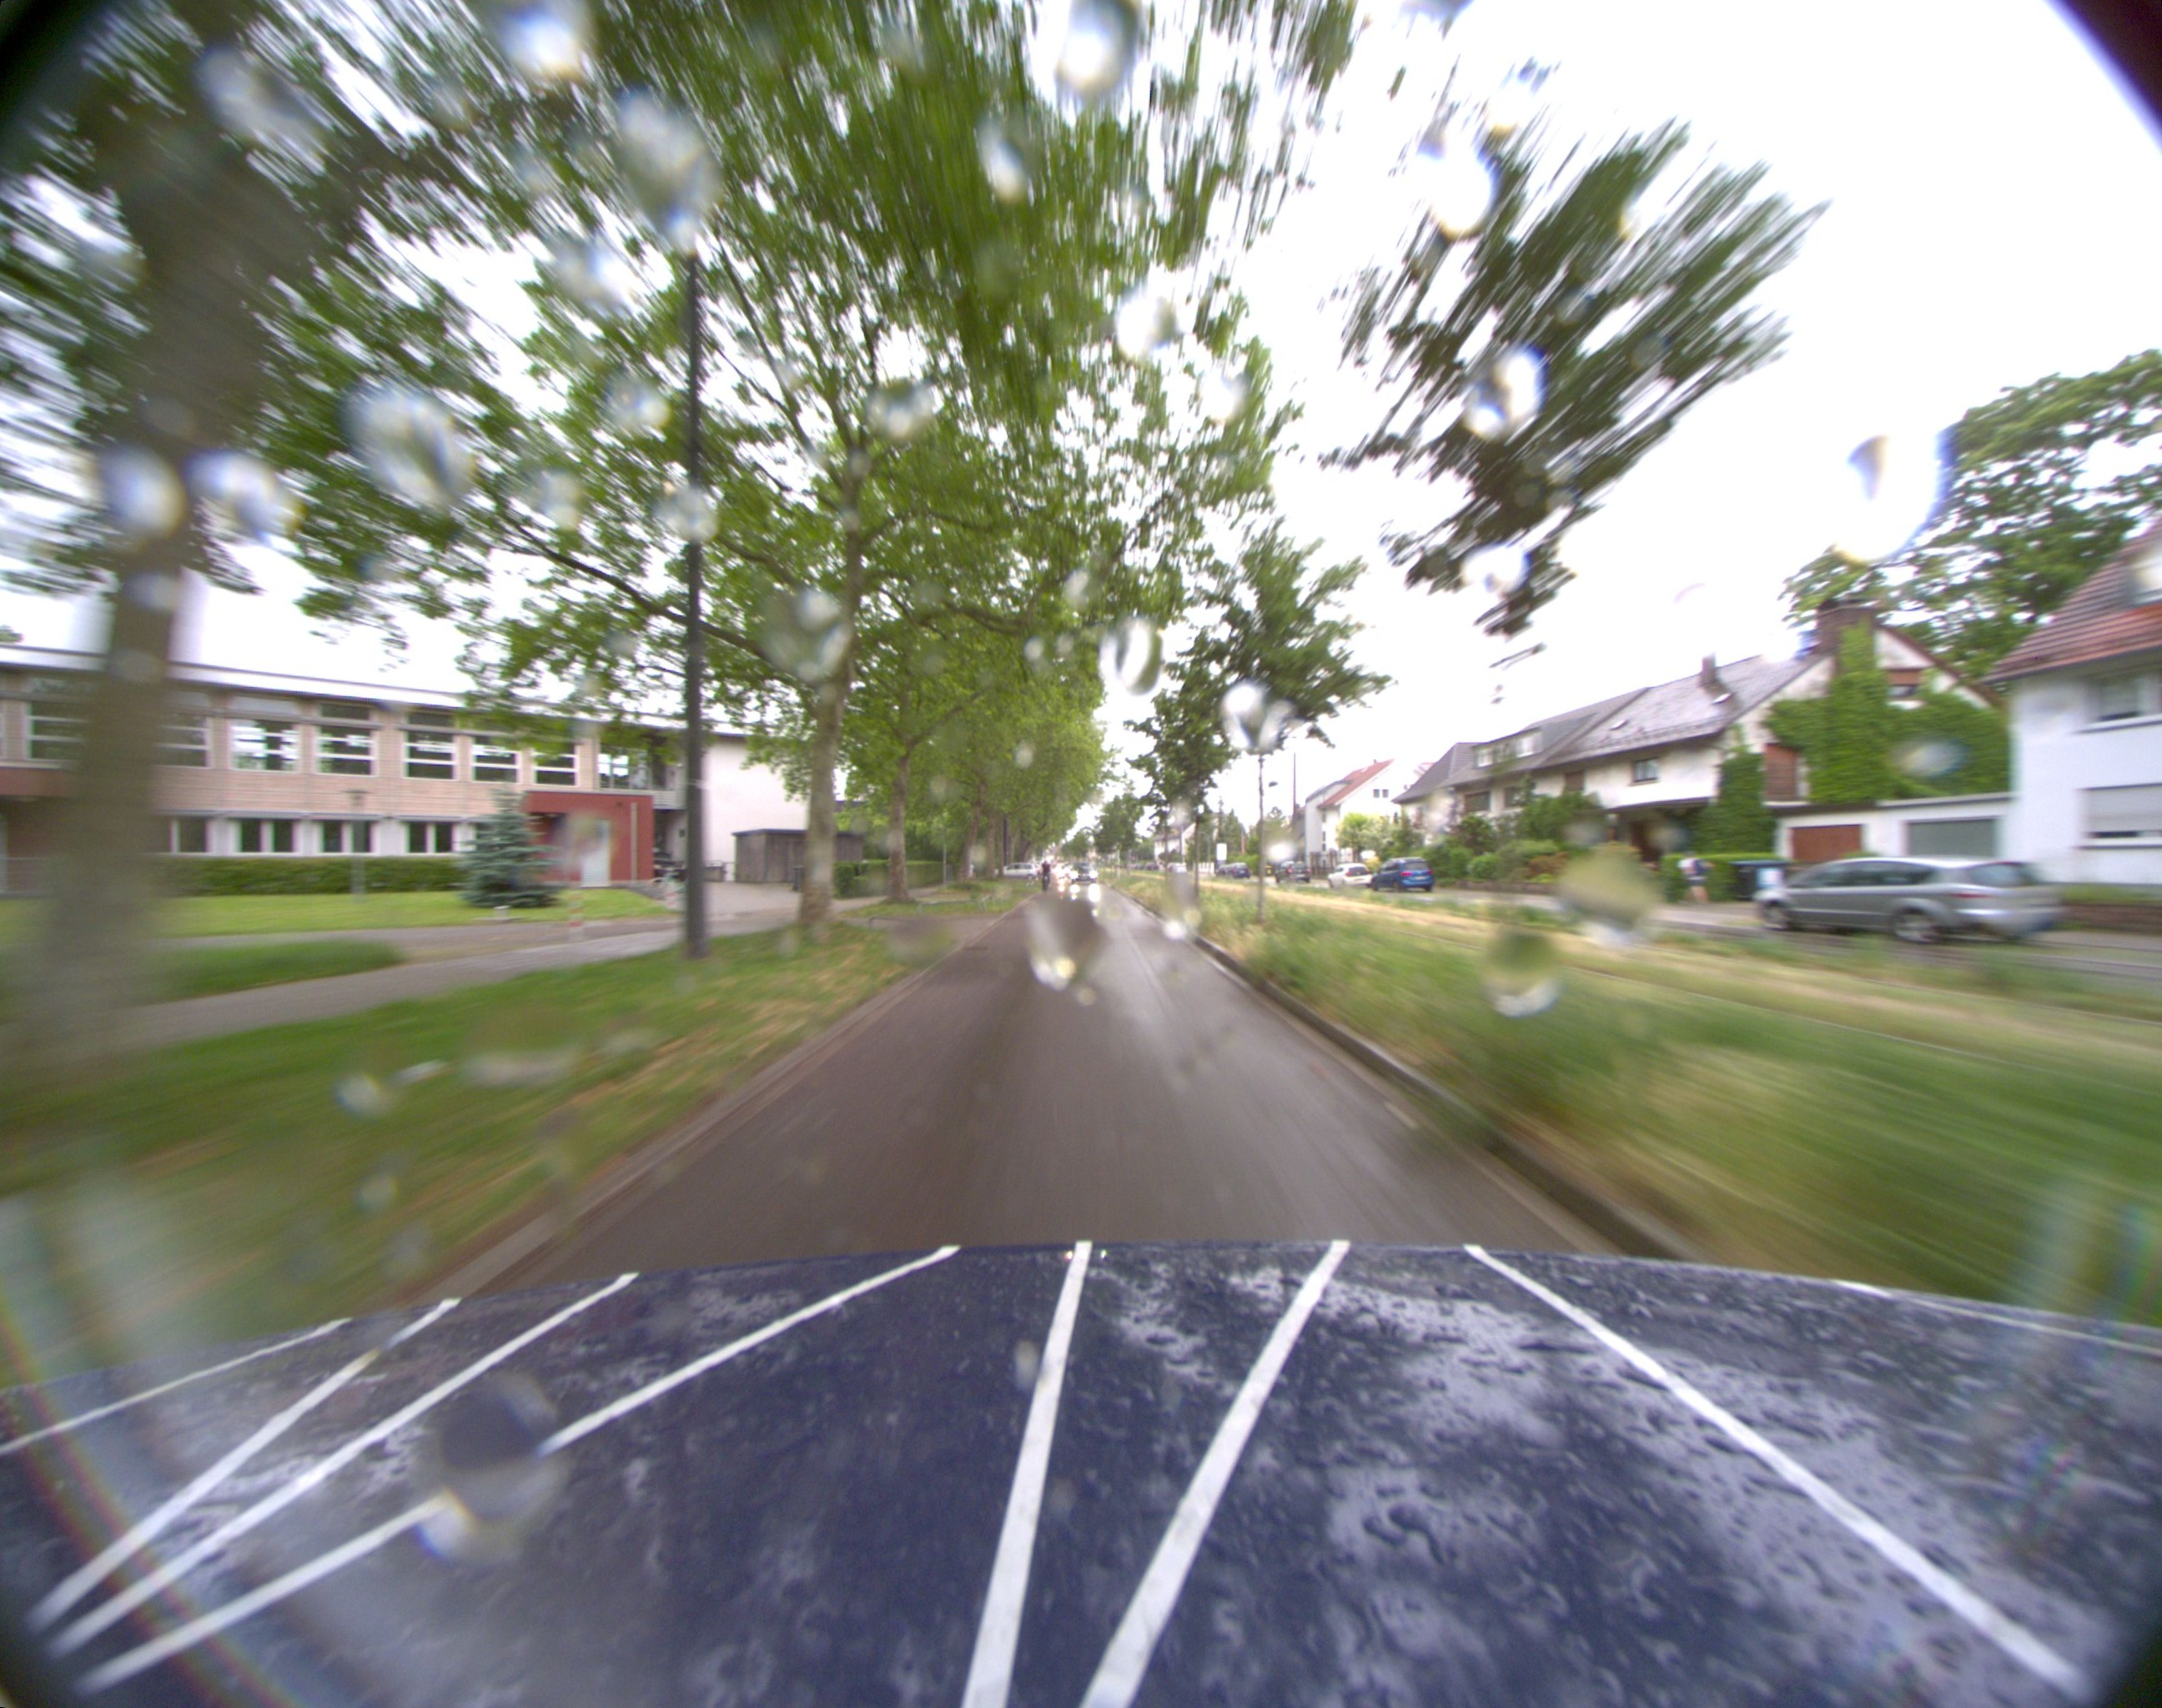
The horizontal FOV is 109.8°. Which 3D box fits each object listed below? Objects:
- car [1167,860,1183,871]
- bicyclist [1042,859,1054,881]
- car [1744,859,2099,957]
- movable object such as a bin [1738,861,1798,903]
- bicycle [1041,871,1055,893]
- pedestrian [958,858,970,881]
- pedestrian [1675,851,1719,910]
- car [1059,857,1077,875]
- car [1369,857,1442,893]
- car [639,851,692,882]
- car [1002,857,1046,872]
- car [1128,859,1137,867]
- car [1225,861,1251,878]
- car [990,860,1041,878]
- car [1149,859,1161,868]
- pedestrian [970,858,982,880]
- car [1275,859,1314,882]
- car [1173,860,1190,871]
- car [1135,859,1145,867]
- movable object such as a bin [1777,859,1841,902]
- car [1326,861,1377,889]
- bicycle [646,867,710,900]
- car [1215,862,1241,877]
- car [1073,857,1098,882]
[{"bbox_3d":[14.009,1.719,113.426,1.759,1.507,3.854,-3,0,0],"label":"car"},{"bbox_3d":[-1.661,0.808,38.579,0.622,1.078,0.624,0,1,-2],"label":"bicyclist"},{"bbox_3d":[16.360,0.936,15.288,1.998,1.604,4.684,-2,0,1],"label":"car"},{"bbox_3d":[21.740,0.872,24.046,1.187,1.290,0.739,-2,0,1],"label":"movable object such as a bin"},{"bbox_3d":[-1.662,1.425,38.654,0.659,1.008,2.256,0,0,-2],"label":"bicycle"},{"bbox_3d":[-8.010,1.044,51.966,0.748,1.529,0.585,0,0,-1],"label":"pedestrian"},{"bbox_3d":[18.901,0.791,23.322,0.599,1.757,0.869,-2,0,0],"label":"pedestrian"},{"bbox_3d":[-1.319,1.228,79.337,1.767,1.715,3.934,-1,0,-1],"label":"car"},{"bbox_3d":[16.597,1.045,39.060,1.849,1.696,4.182,-2,0,-1],"label":"car"},{"bbox_3d":[-20.858,0.579,38.070,1.753,1.443,3.572,-2,1,-38],"label":"car"},{"bbox_3d":[-5.684,1.065,75.702,4.020,1.478,1.636,0,0,-20],"label":"car"},{"bbox_3d":[11.429,1.980,168.874,1.759,1.507,3.854,-3,0,0],"label":"car"},{"bbox_3d":[15.499,1.501,75.128,1.759,1.507,3.854,-3,0,0],"label":"car"},{"bbox_3d":[-5.550,1.257,64.372,4.020,1.478,1.636,0,0,-20],"label":"car"},{"bbox_3d":[13.265,1.740,136.043,1.759,1.507,3.854,-3,0,0],"label":"car"},{"bbox_3d":[-7.464,1.085,53.997,0.748,1.529,0.585,0,0,-12],"label":"pedestrian"},{"bbox_3d":[16.130,1.239,57.607,1.759,1.604,4.111,-3,0,0],"label":"car"},{"bbox_3d":[14.384,1.639,108.877,1.759,1.507,3.854,-3,0,0],"label":"car"},{"bbox_3d":[12.196,1.843,157.093,1.759,1.507,3.854,-3,0,0],"label":"car"},{"bbox_3d":[22.975,0.824,23.991,1.257,1.290,0.739,-2,0,1],"label":"movable object such as a bin"},{"bbox_3d":[16.350,1.260,46.159,1.718,1.520,3.601,-3,0,-1],"label":"car"},{"bbox_3d":[-14.456,1.047,27.268,0.520,1.115,1.942,2,1,43],"label":"bicycle"},{"bbox_3d":[15.358,1.577,79.543,1.893,1.490,4.000,0,0,1],"label":"car"},{"bbox_3d":[0.345,1.145,57.340,1.767,1.714,3.935,-2,-1,0],"label":"car"}]
